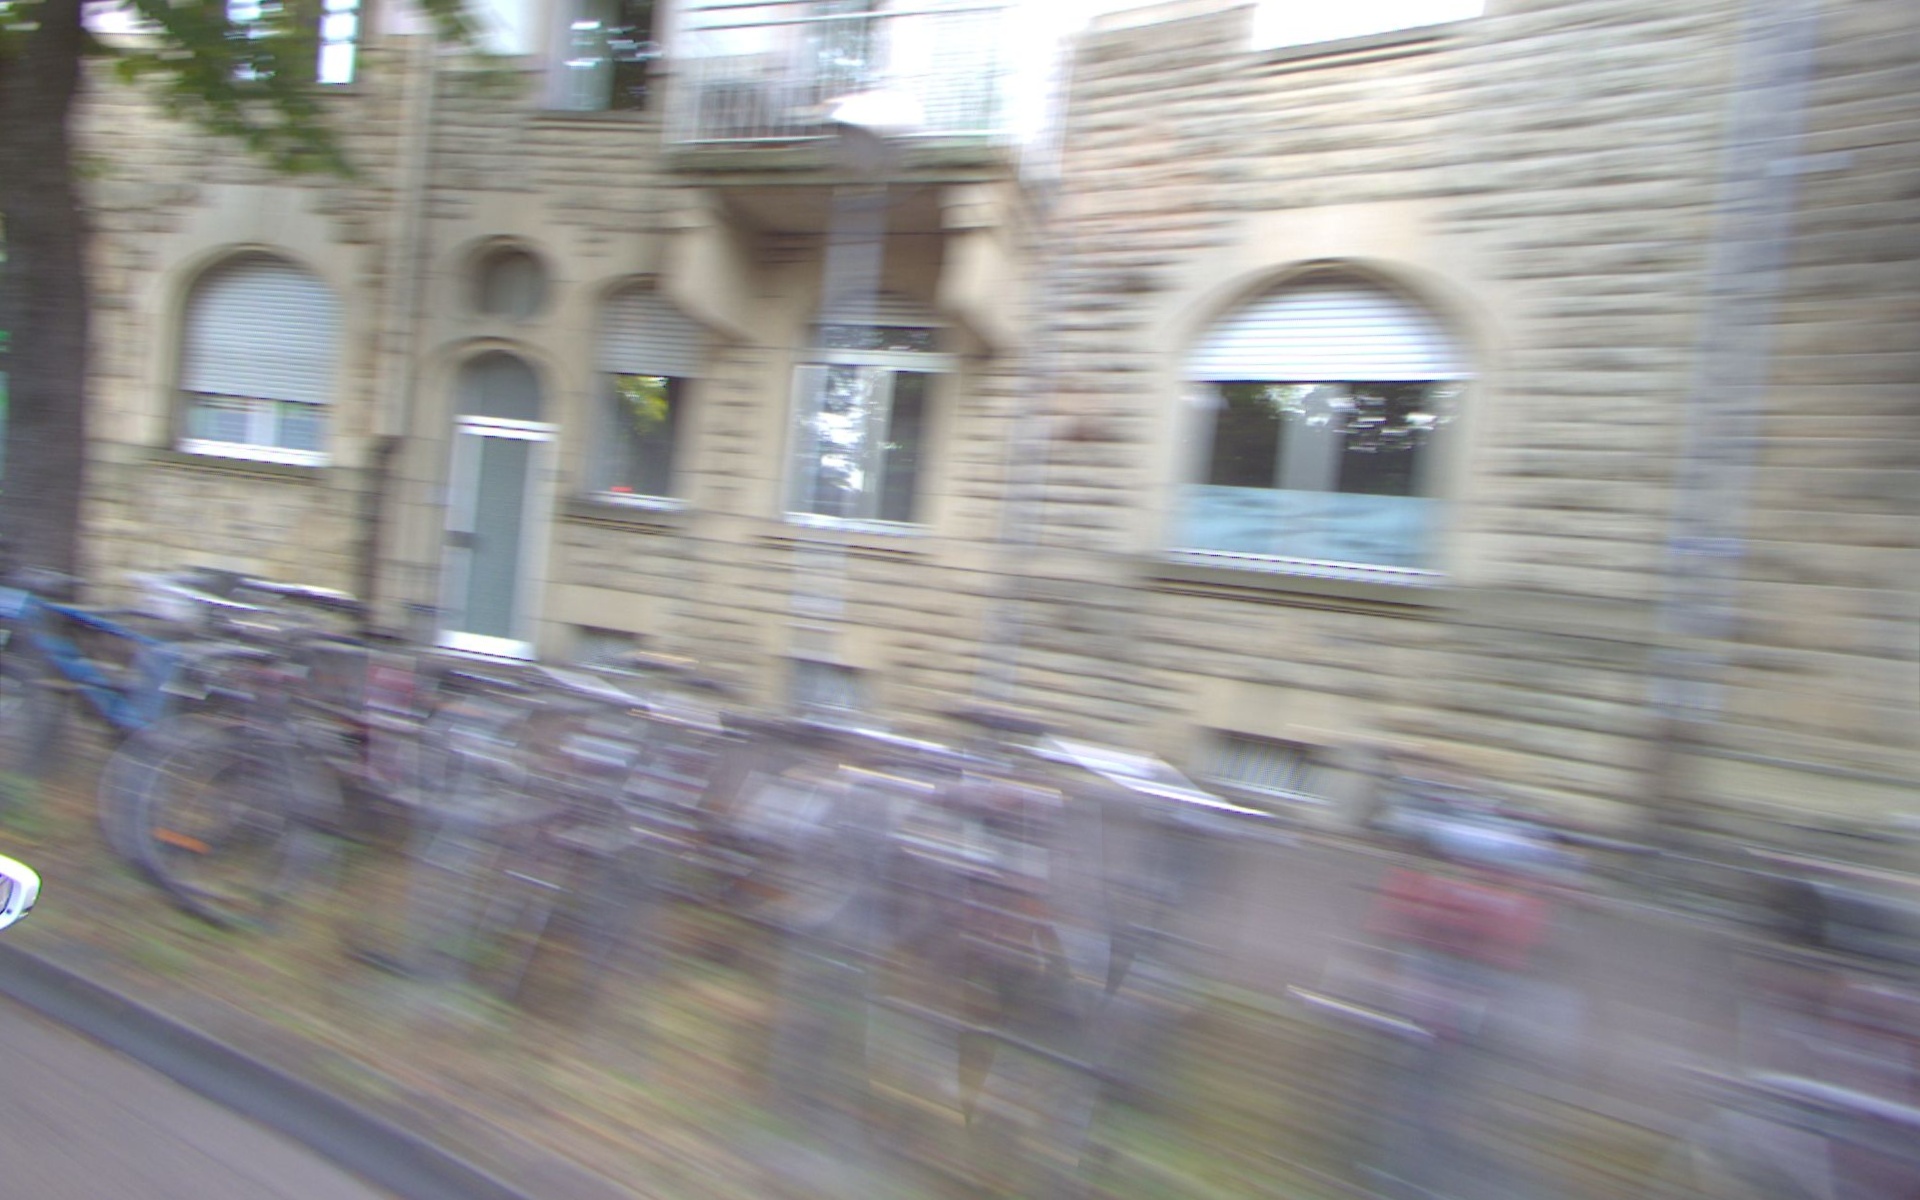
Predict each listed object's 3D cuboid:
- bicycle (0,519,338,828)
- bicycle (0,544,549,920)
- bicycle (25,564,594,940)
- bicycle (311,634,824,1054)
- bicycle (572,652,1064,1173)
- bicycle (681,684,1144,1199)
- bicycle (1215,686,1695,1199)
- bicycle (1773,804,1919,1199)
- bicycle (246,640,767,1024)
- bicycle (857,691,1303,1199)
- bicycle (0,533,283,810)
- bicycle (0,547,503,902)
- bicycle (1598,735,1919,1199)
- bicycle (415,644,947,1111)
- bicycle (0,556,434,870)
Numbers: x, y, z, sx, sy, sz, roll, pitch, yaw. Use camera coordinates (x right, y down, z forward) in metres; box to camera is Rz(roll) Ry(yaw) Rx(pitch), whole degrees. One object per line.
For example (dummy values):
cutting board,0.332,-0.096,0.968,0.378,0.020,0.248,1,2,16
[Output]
bicycle,-3.868,0.308,4.497,0.483,1.232,1.883,1,-1,24
bicycle,-2.605,0.461,4.055,0.413,1.139,1.853,-13,-7,23
bicycle,-2.354,0.509,3.951,0.413,1.100,1.853,-13,-7,23
bicycle,-1.203,0.681,3.566,0.411,1.065,1.853,7,1,24
bicycle,-0.276,0.752,3.167,0.412,1.131,1.852,7,1,28
bicycle,0.017,0.822,3.052,0.412,1.027,1.852,7,1,28
bicycle,1.070,0.878,2.336,0.543,1.215,1.918,7,1,25
bicycle,2.043,1.066,1.813,0.440,1.077,1.793,7,1,28
bicycle,-1.467,0.676,3.680,0.411,1.012,1.853,7,1,24
bicycle,0.489,0.867,2.789,0.543,1.078,1.918,7,1,25
bicycle,-4.254,0.311,4.694,0.483,1.153,1.886,11,0,11
bicycle,-2.906,0.446,4.282,0.411,1.159,1.853,7,1,24
bicycle,1.735,0.967,2.064,0.440,1.183,1.793,7,1,28
bicycle,-0.751,0.719,3.412,0.526,1.075,1.918,7,1,25
bicycle,-3.286,0.417,4.689,0.563,1.118,1.854,6,1,1
